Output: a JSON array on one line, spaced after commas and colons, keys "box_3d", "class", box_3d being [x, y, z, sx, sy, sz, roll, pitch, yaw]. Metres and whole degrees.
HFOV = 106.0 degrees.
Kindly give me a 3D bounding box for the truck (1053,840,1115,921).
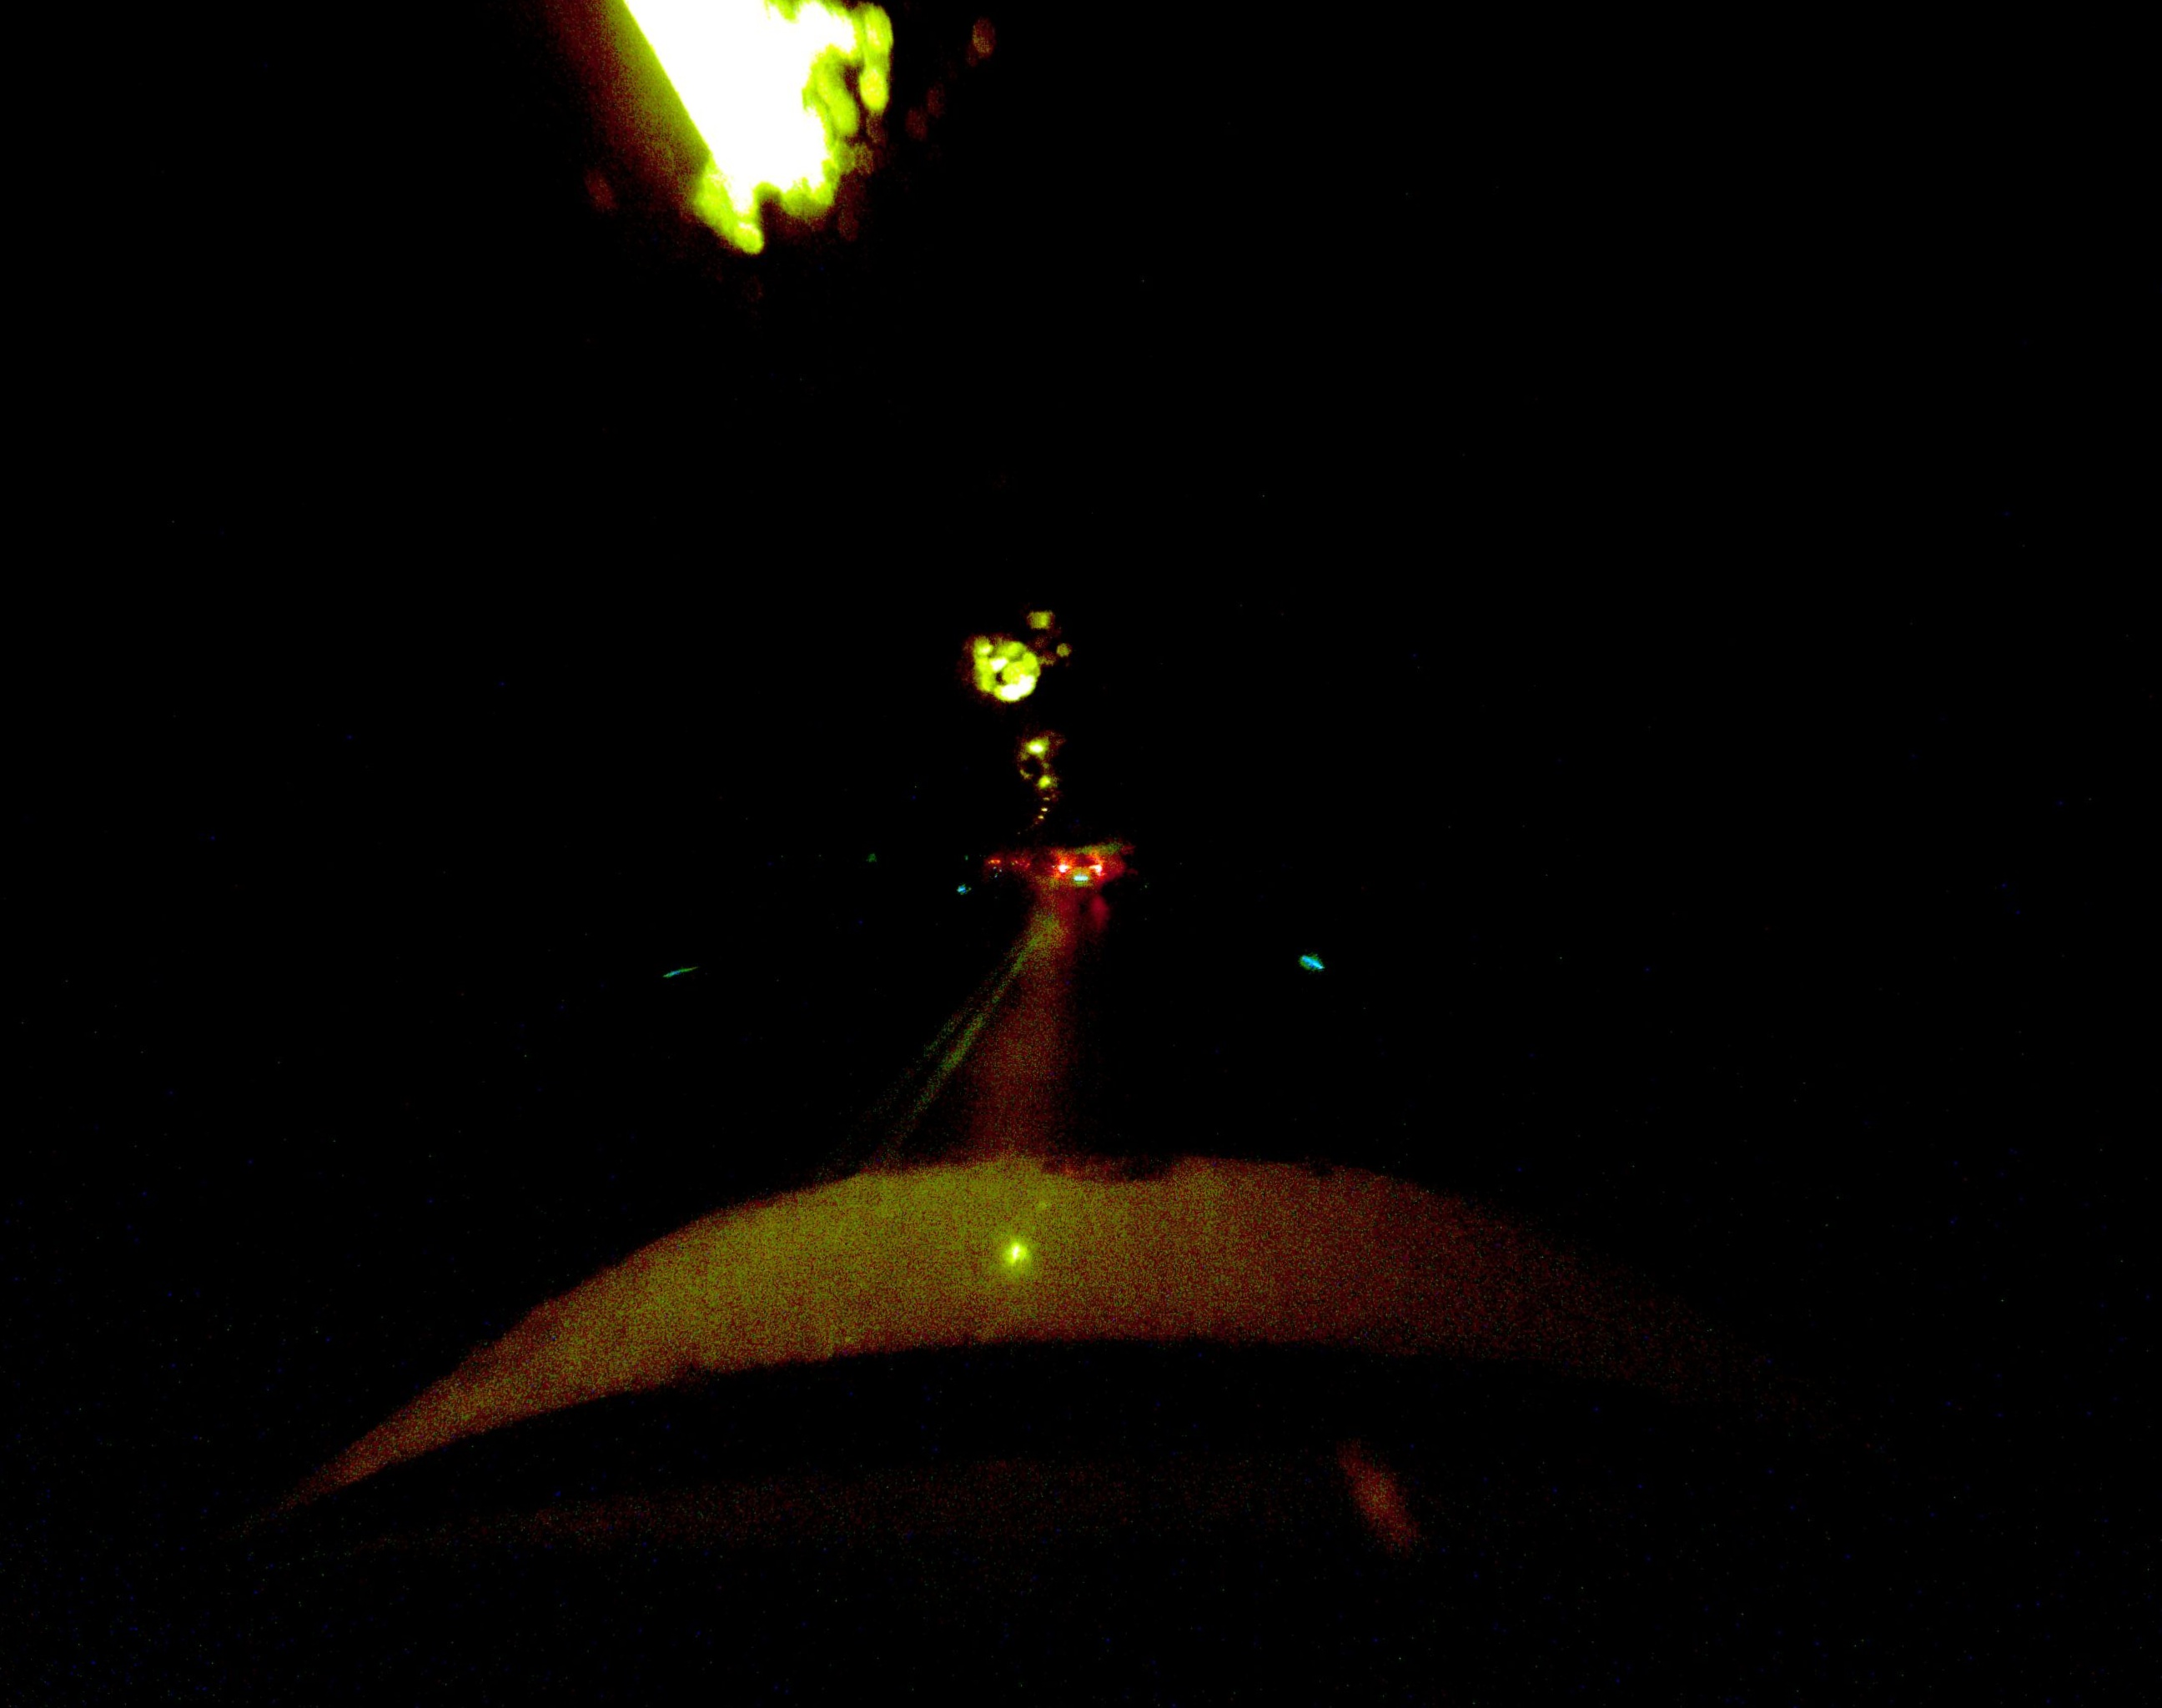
[{"box_3d": [0.229, 0.996, 34.316, 2.254, 3.011, 7.417, 1, 0, 2], "class": "truck"}]
